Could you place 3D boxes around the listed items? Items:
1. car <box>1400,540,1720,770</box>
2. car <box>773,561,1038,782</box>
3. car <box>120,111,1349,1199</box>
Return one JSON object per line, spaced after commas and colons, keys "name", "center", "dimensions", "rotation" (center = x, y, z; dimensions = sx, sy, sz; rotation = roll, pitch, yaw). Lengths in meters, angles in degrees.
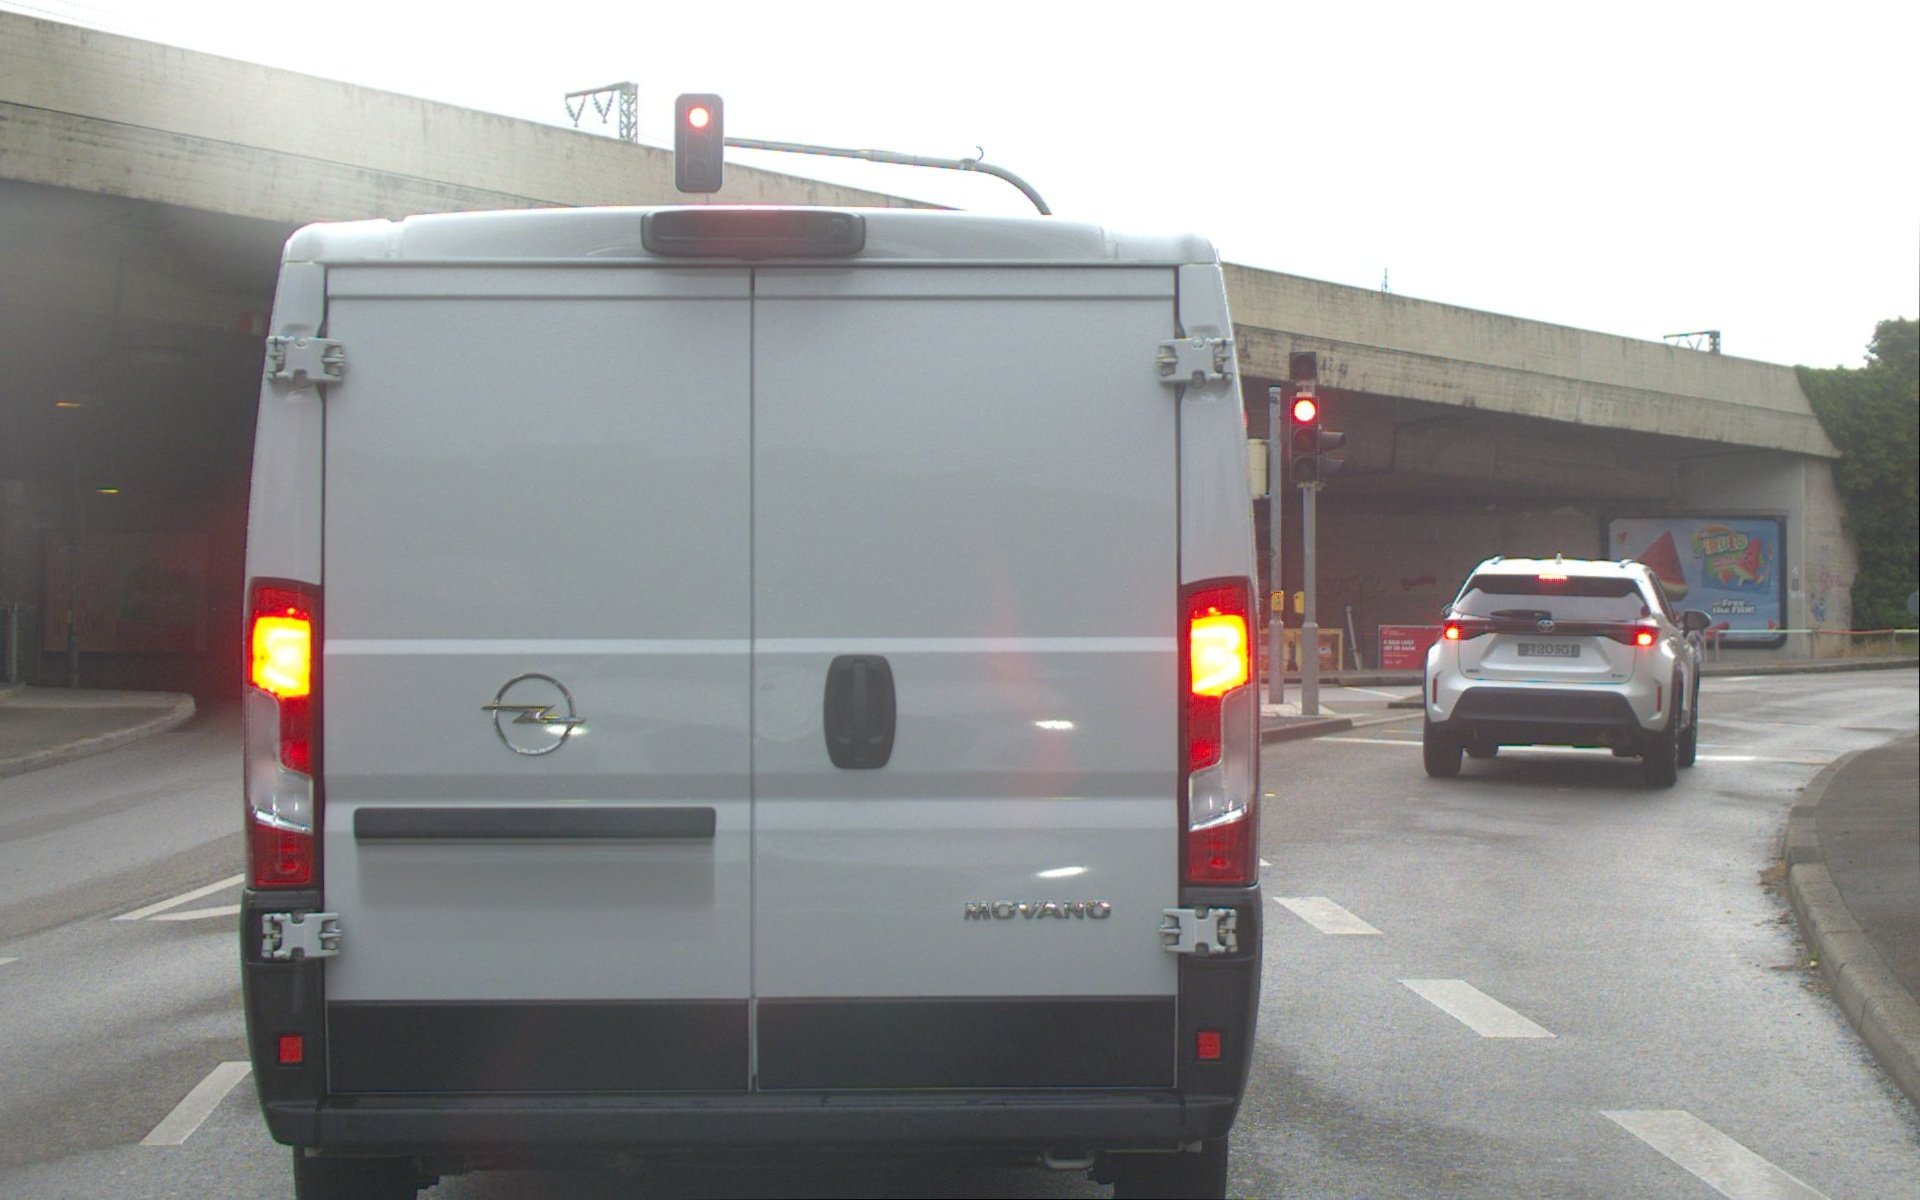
{"name": "car", "center": [4.485, 0.383, 25.239], "dimensions": [1.995, 1.544, 3.997], "rotation": [0, -1, 15]}
{"name": "car", "center": [-0.383, 0.581, 28.875], "dimensions": [1.994, 1.723, 3.999], "rotation": [0, -1, 2]}
{"name": "car", "center": [-0.481, 0.235, 9.133], "dimensions": [2.305, 2.335, 5.282], "rotation": [0, 0, -1]}
